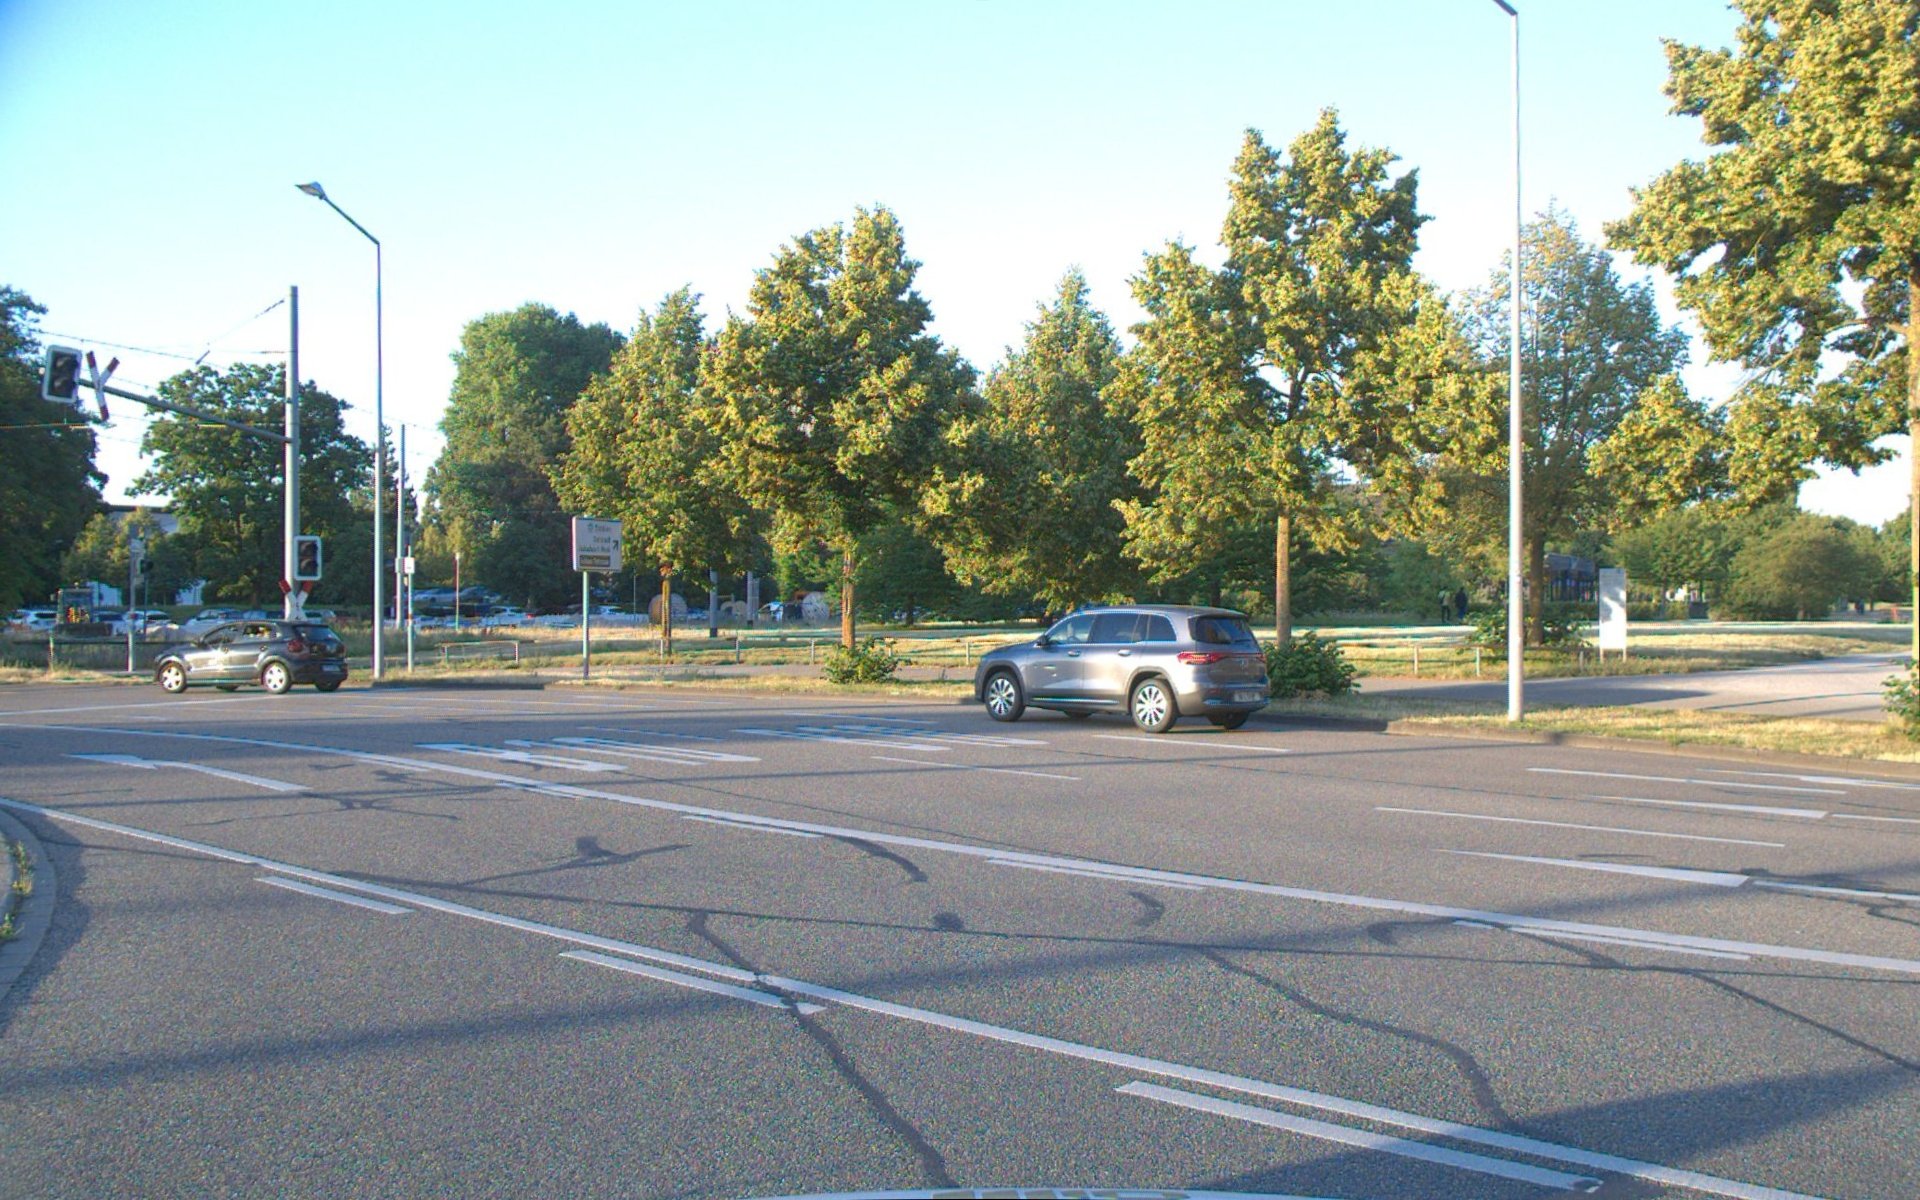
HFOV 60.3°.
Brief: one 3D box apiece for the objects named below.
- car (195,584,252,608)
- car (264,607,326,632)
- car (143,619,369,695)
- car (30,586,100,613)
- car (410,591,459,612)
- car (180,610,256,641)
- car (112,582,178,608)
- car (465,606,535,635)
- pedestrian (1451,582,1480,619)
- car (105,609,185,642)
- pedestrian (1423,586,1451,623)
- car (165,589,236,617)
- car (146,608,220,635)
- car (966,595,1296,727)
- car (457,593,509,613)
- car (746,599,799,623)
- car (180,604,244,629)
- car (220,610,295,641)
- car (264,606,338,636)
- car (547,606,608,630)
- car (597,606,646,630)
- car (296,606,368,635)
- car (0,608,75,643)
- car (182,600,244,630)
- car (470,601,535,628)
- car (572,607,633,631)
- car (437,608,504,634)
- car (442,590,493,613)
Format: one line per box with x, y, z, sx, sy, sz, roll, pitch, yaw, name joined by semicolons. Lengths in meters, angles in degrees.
-63.400;-0.335;142.334;1.958;2.049;4.105;0;0;33;car
-45.836;1.313;114.089;3.933;1.691;1.889;0;0;-23;car
-13.835;1.093;32.548;3.902;1.377;1.696;0;1;16;car
-70.556;-0.034;130.437;1.956;2.049;4.590;0;0;29;car
-47.977;0.106;151.040;1.959;1.847;3.987;0;0;34;car
-40.547;1.358;90.354;3.915;1.632;1.995;0;0;32;car
-67.141;-0.423;136.312;1.958;2.049;4.585;0;0;33;car
-32.545;1.435;117.134;4.499;2.049;1.996;0;0;-9;car
22.560;0.027;73.820;1.047;1.646;0.911;0;0;2;pedestrian
-42.270;1.309;85.764;3.915;1.632;1.995;0;0;32;car
21.590;0.202;74.849;1.047;1.646;0.911;0;0;2;pedestrian
-56.669;0.230;123.465;1.956;2.049;4.590;0;0;29;car
-50.249;1.363;107.060;1.863;1.691;3.987;0;0;34;car
2.298;0.770;23.178;1.984;1.666;4.455;0;0;-42;car
-41.714;0.289;144.702;3.902;1.736;2.001;0;0;6;car
-13.022;0.756;114.655;1.724;1.646;3.940;0;0;-41;car
-50.580;1.101;111.847;3.939;1.691;1.983;0;0;-27;car
-39.105;1.390;92.022;3.915;1.632;1.995;0;0;32;car
-37.405;1.161;93.849;3.915;1.632;1.995;0;0;32;car
-26.289;1.231;113.655;3.915;1.632;1.995;0;0;32;car
-26.386;1.387;128.860;1.979;1.782;4.538;0;1;-37;car
-36.461;1.187;96.067;3.915;1.632;1.995;0;0;32;car
-45.640;1.232;81.411;3.915;1.632;1.995;0;0;32;car
-52.257;1.032;115.717;3.939;2.049;1.983;0;0;-27;car
-34.615;1.078;125.242;4.499;2.049;1.996;0;0;-9;car
-24.921;1.317;115.405;3.915;1.632;1.995;0;0;32;car
-30.994;1.318;104.665;3.915;1.632;1.995;0;0;32;car
-44.115;0.103;148.213;1.963;2.049;3.979;0;0;40;car
